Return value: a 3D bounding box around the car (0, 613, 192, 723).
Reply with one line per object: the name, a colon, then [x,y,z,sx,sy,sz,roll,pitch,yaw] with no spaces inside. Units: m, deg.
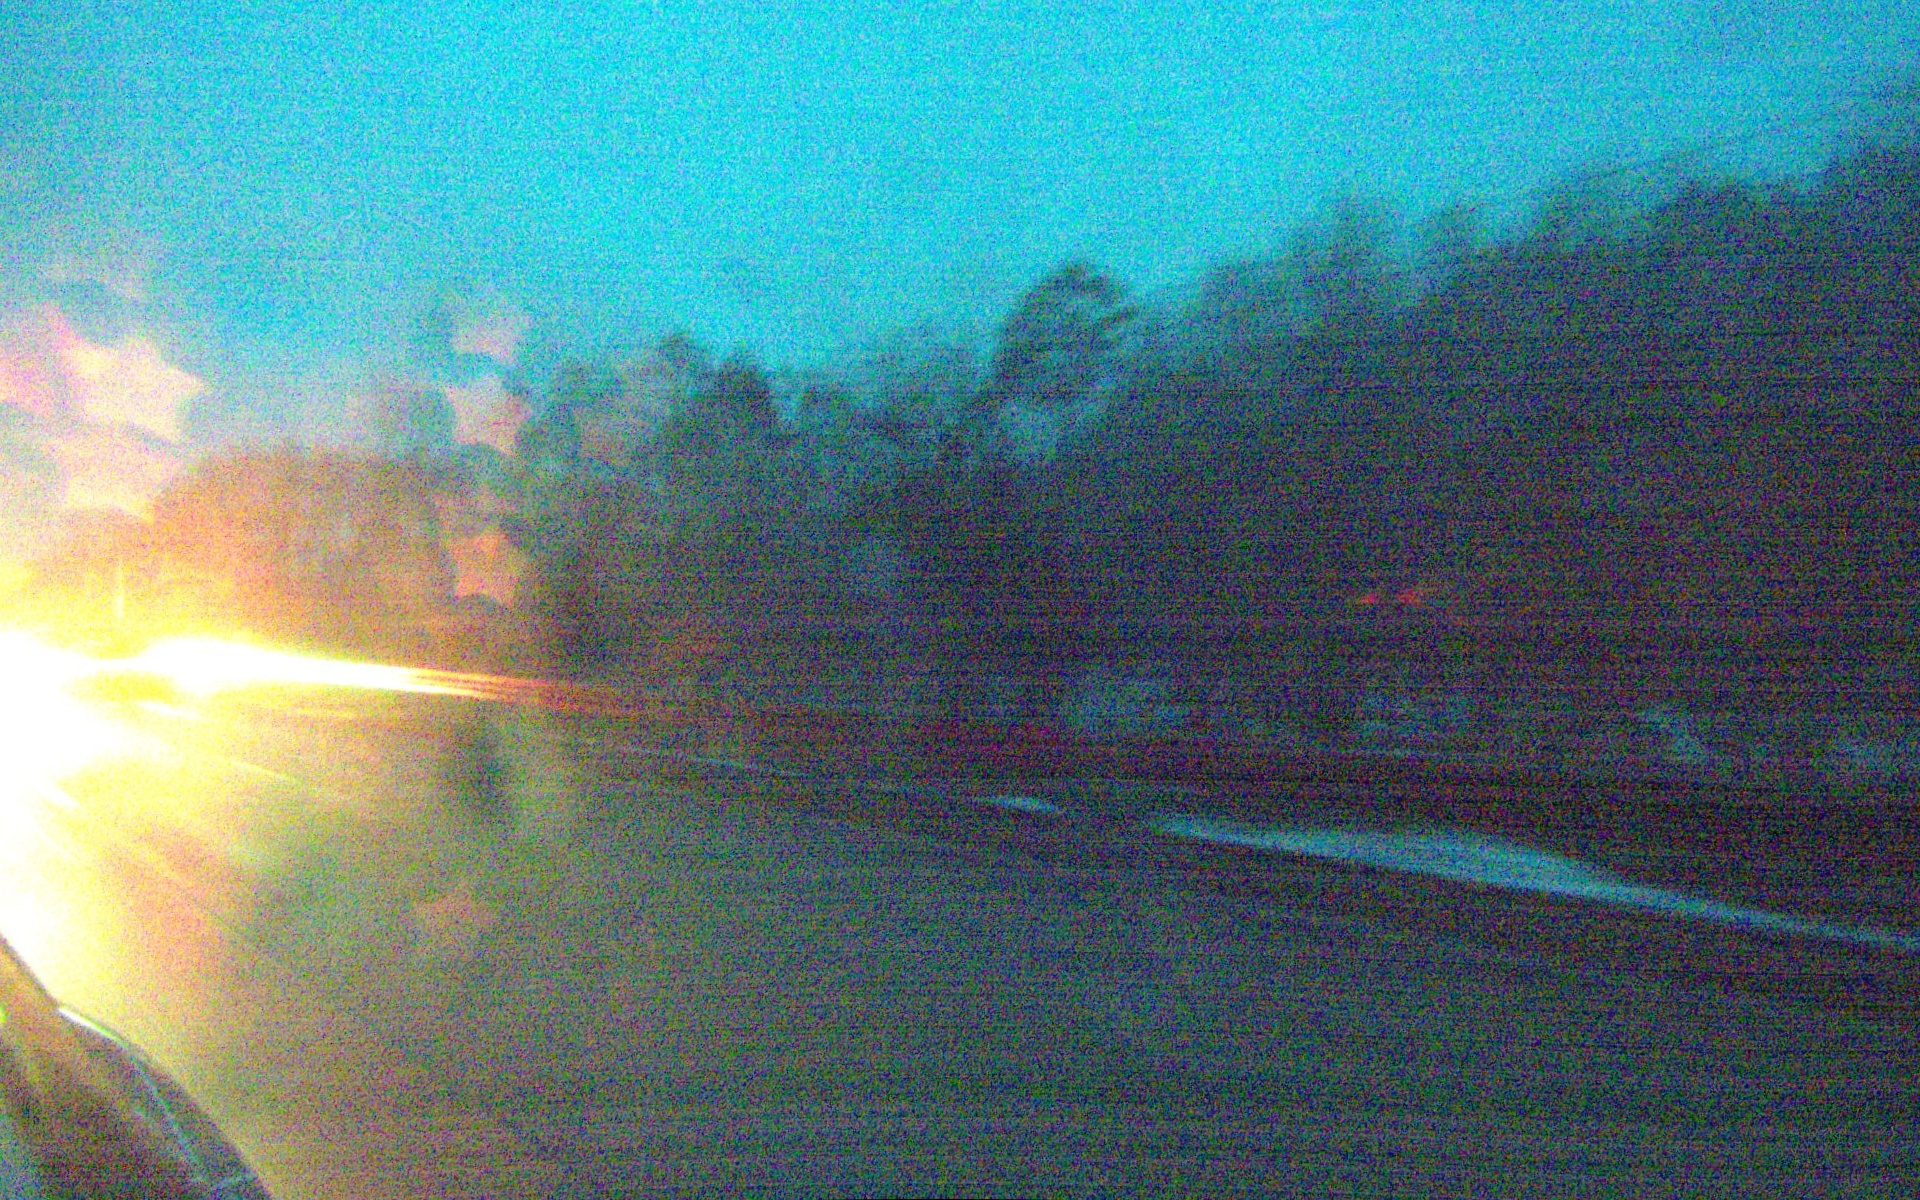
car: [-13.812,0.973,15.942,4.388,1.482,1.818,-1,-1,40]
